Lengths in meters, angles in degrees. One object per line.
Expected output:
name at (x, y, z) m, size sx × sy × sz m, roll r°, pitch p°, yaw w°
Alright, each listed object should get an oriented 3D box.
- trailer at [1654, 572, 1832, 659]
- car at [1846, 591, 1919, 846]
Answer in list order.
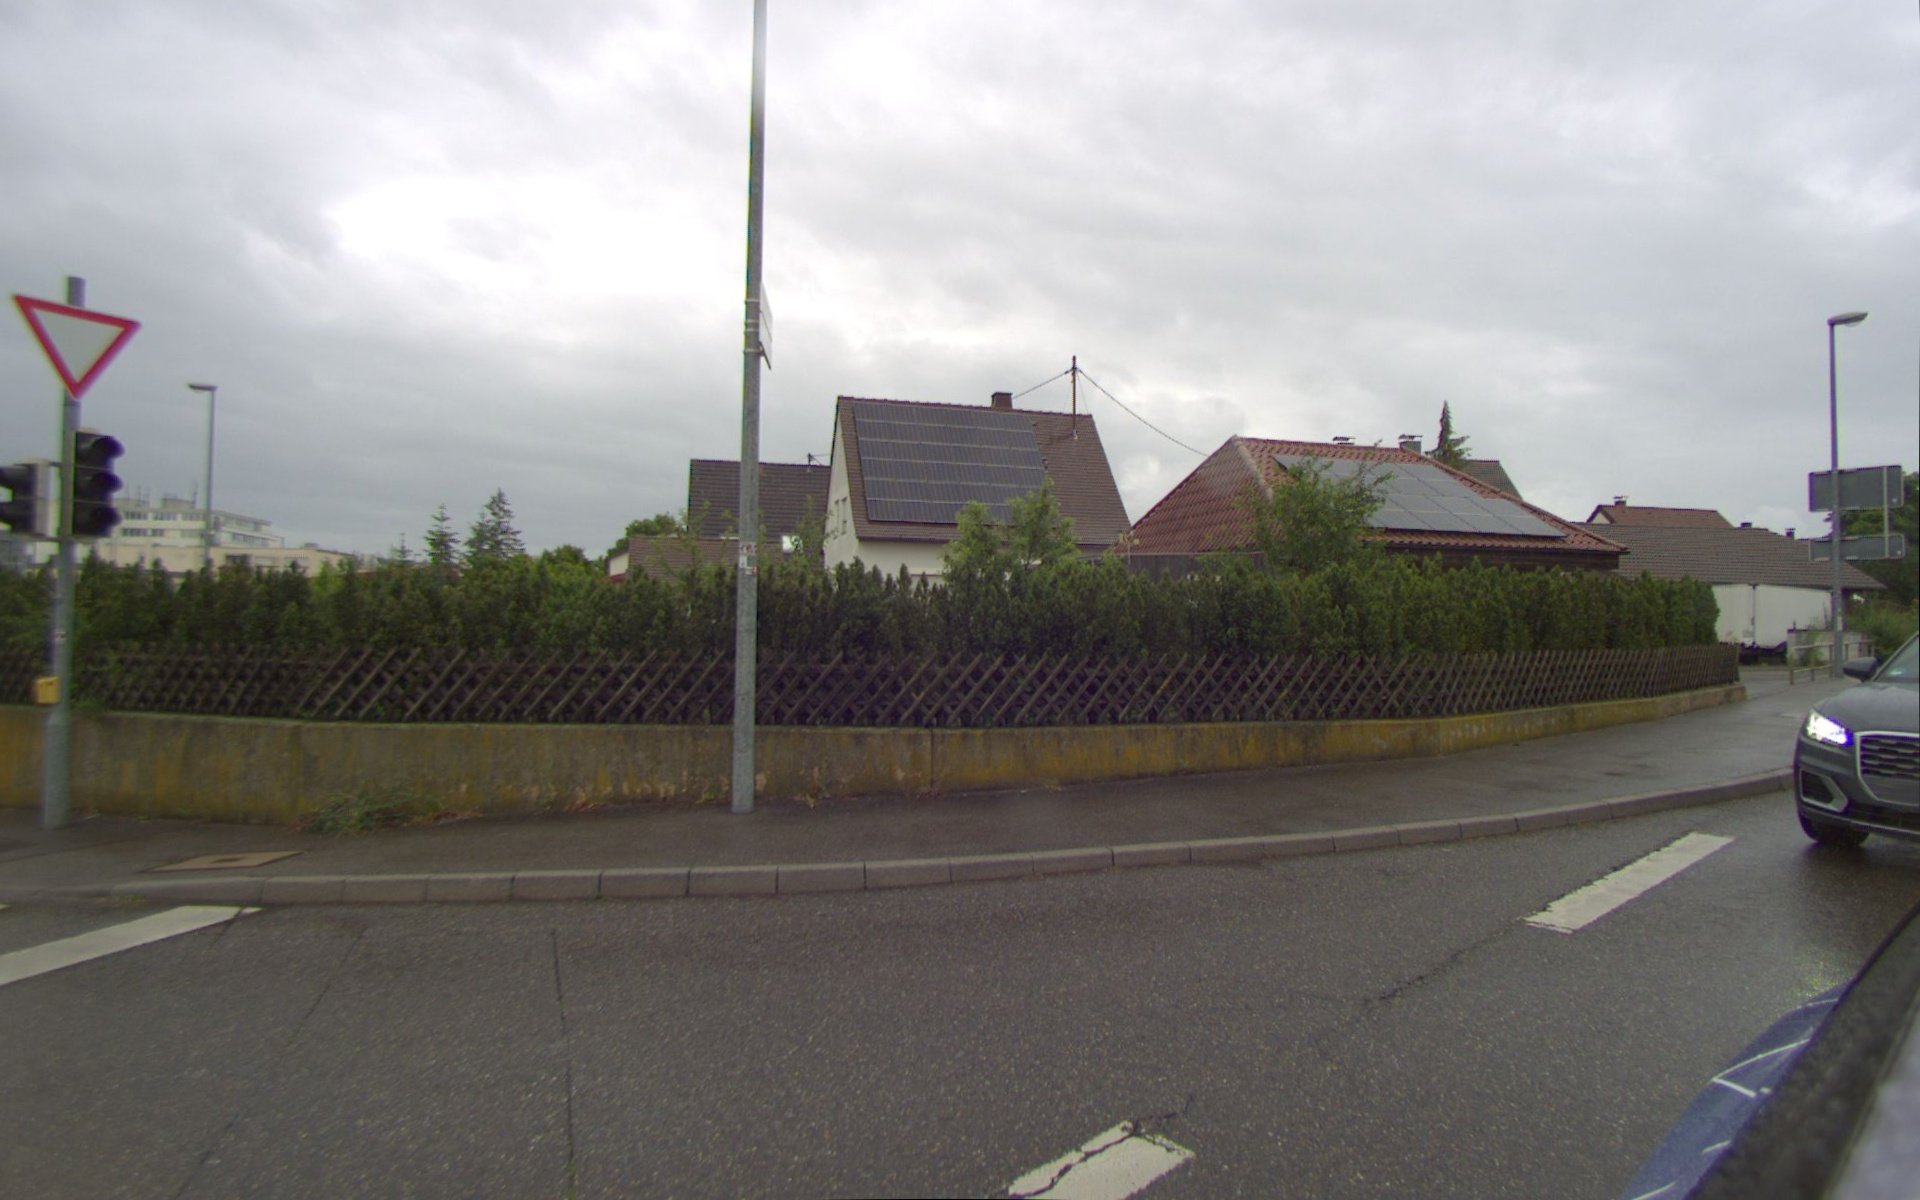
trailer at (23.803, 0.479, 30.805) m, size 4.605 × 2.550 × 1.652 m, roll 0°, pitch -2°, yaw -13°
car at (7.600, 0.707, 6.614) m, size 3.862 × 1.514 × 1.689 m, roll 0°, pitch -1°, yaw -32°
